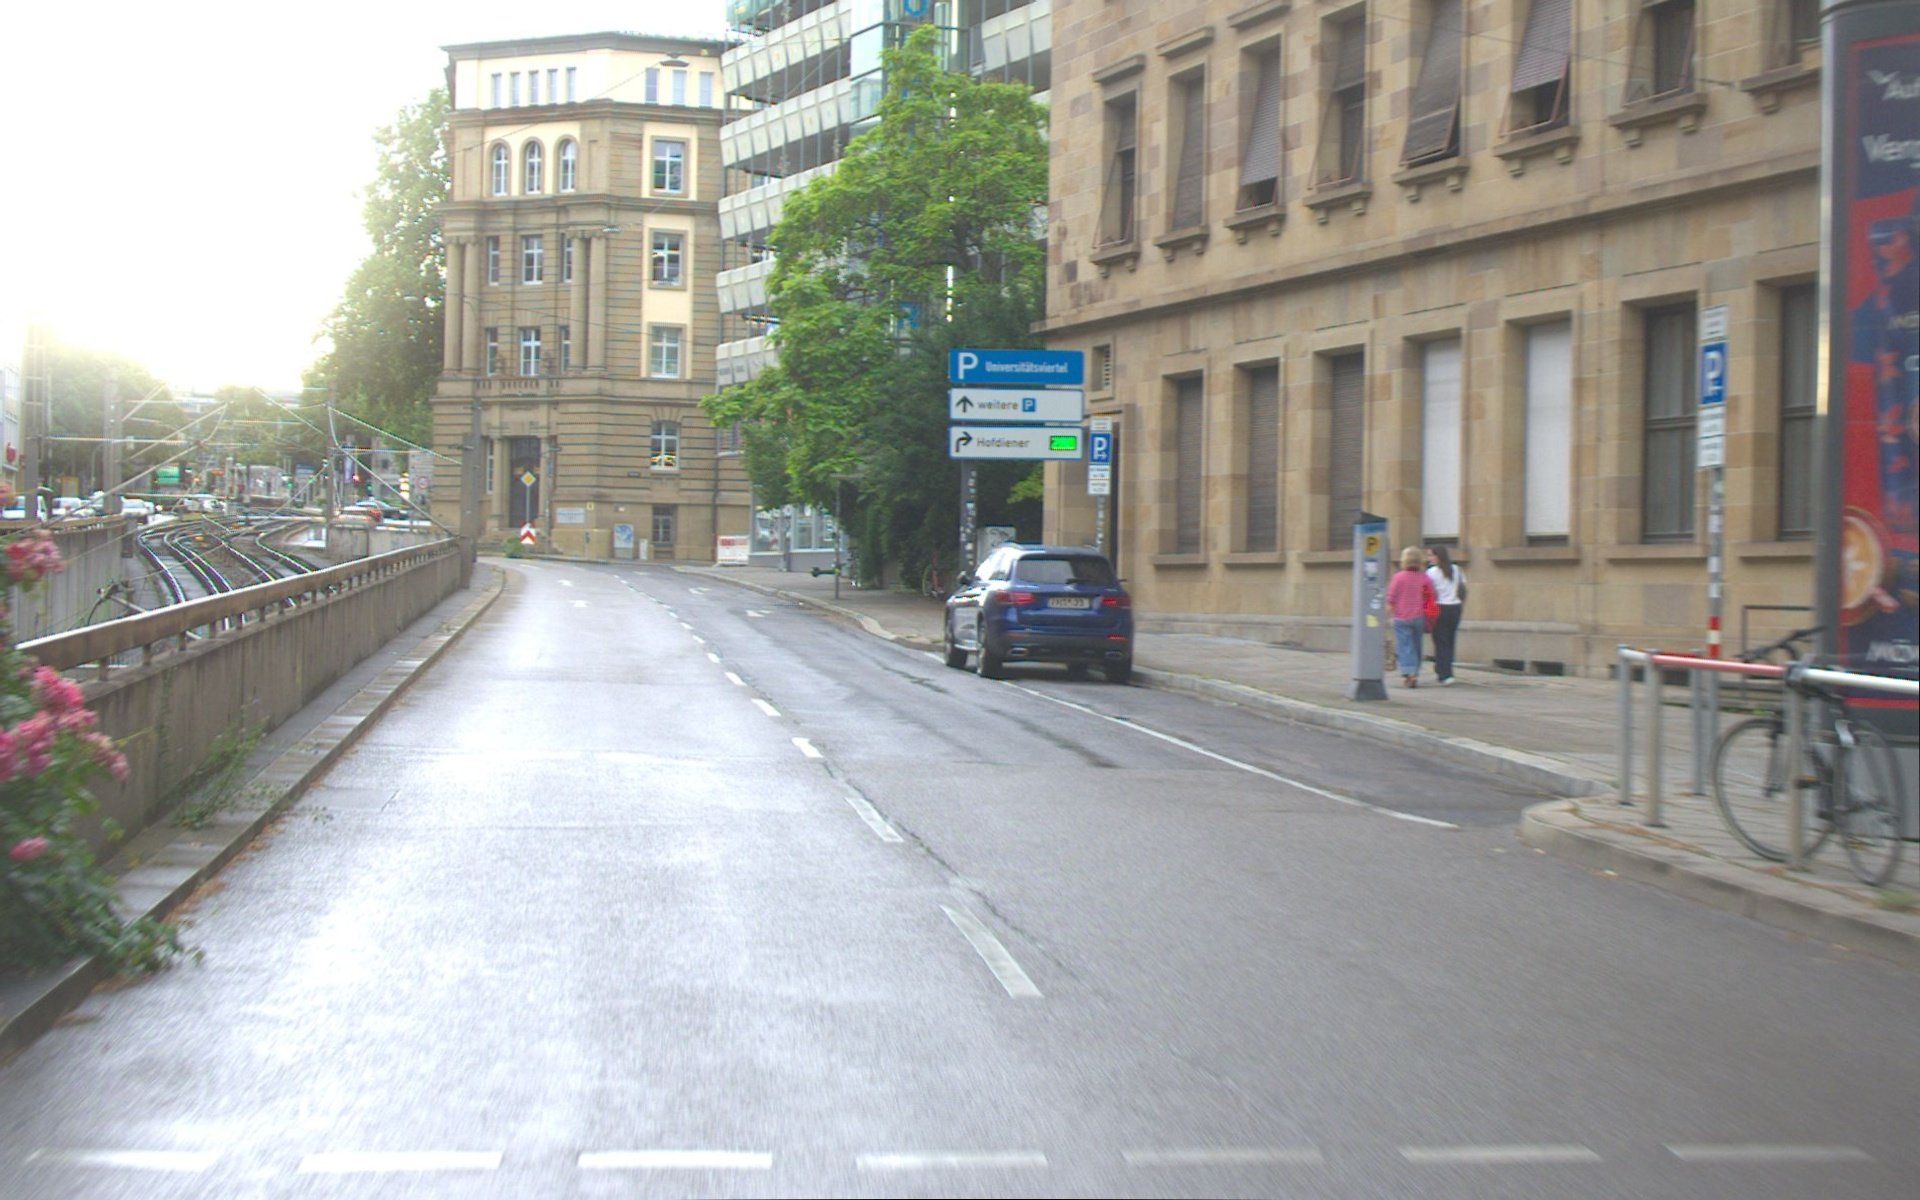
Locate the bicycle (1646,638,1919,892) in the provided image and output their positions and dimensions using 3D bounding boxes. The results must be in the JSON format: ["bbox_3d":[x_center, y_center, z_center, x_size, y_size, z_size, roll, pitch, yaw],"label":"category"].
[{"bbox_3d":[3.680,0.708,15.452,0.489,1.009,1.928,2,1,-9],"label":"bicycle"}]

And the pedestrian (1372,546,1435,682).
[{"bbox_3d":[4.966,0.151,38.512,0.524,1.487,0.674,2,1,-5],"label":"pedestrian"}]

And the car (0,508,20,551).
[{"bbox_3d":[-44.021,-3.252,156.552,1.993,1.876,4.928,2,1,-12],"label":"car"}]

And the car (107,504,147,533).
[{"bbox_3d":[-46.183,-4.533,190.685,1.993,1.522,3.664,2,1,-12],"label":"car"}]

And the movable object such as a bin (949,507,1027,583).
[{"bbox_3d":[0.486,-0.968,60.456,1.239,1.305,1.234,-1,1,-6],"label":"movable object such as a bin"}]

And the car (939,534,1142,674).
[{"bbox_3d":[0.954,0.024,43.067,1.768,1.614,4.158,2,0,-9],"label":"car"}]

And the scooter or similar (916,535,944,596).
[{"bbox_3d":[-0.635,-0.718,71.998,0.447,1.255,1.211,0,2,-7],"label":"scooter or similar"}]

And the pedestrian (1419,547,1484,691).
[{"bbox_3d":[5.530,0.207,38.717,0.524,1.597,0.674,2,1,-7],"label":"pedestrian"}]
